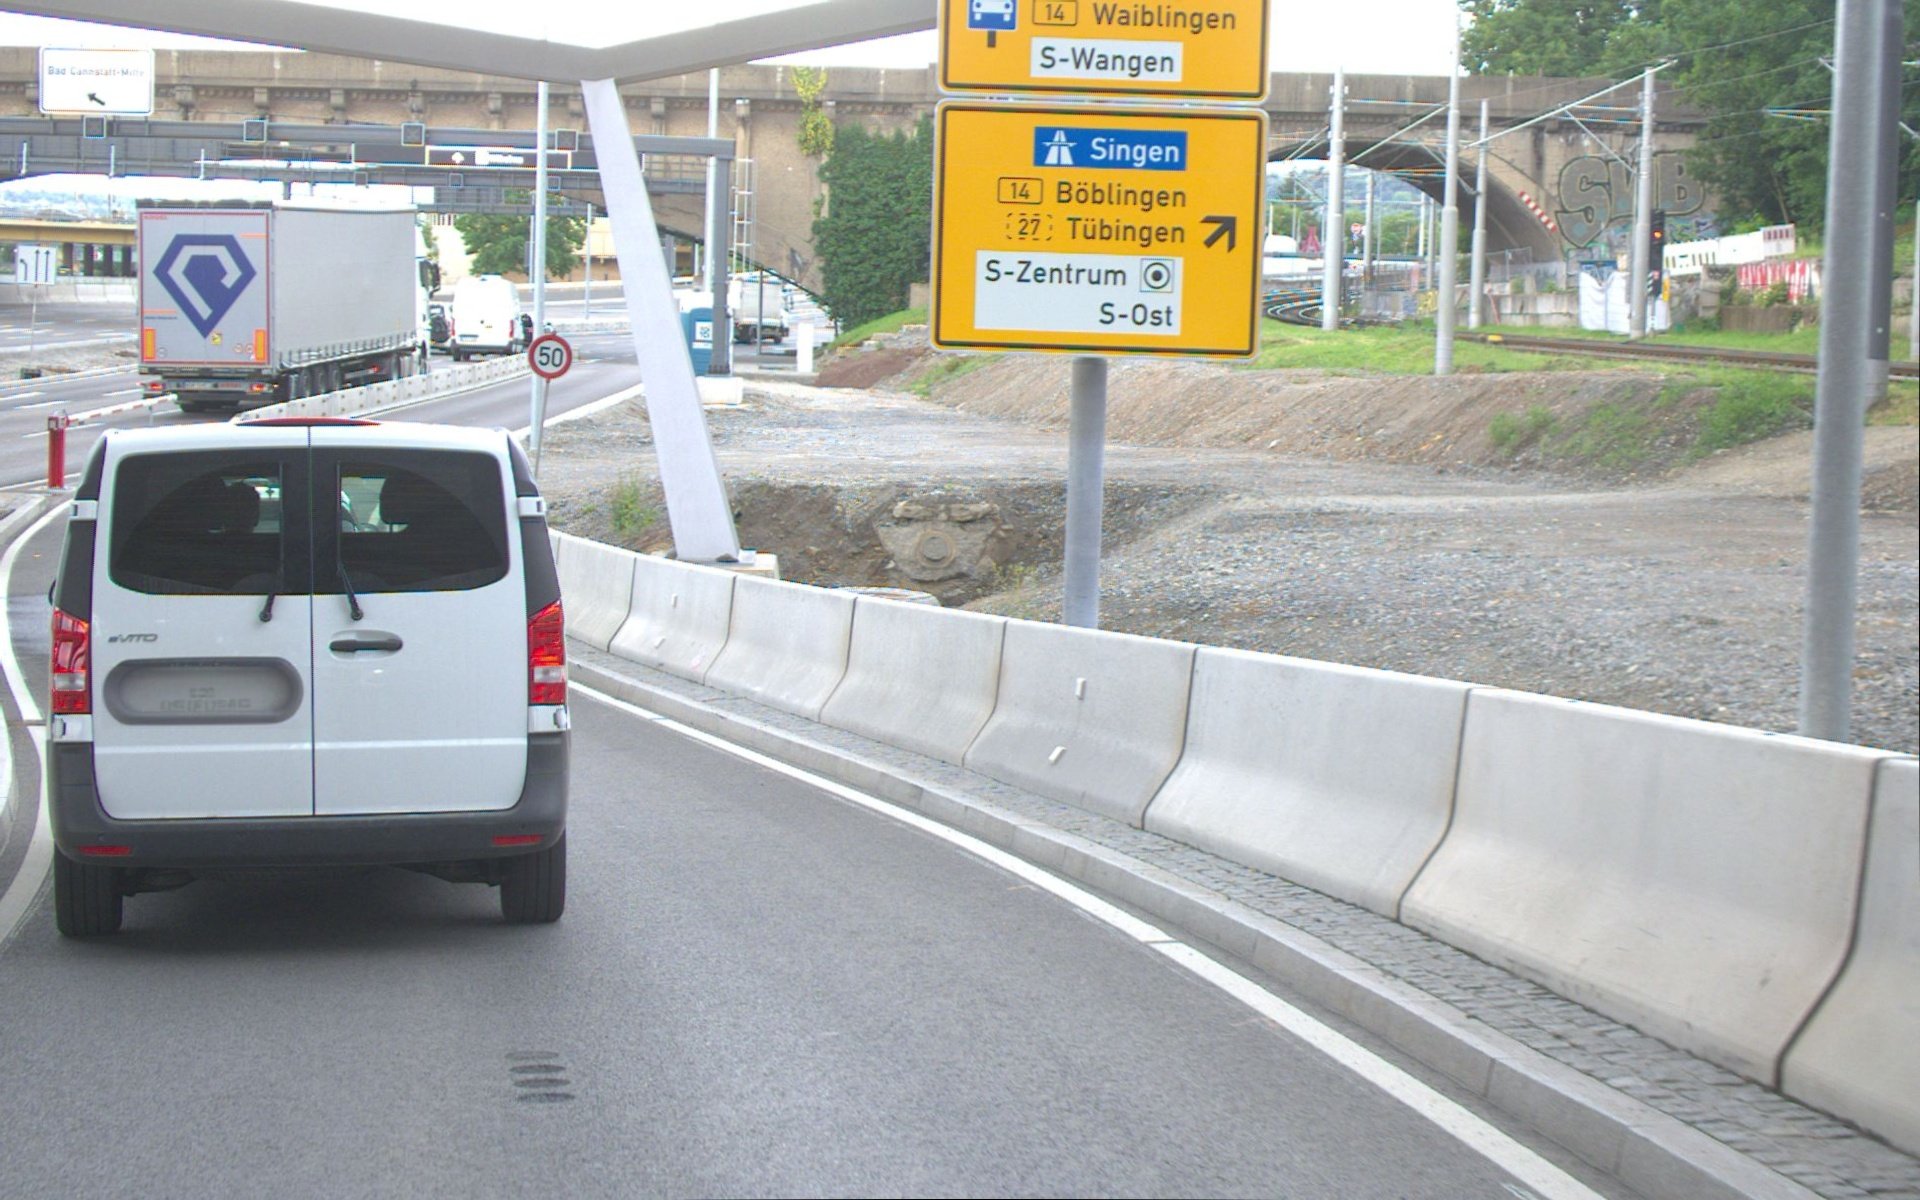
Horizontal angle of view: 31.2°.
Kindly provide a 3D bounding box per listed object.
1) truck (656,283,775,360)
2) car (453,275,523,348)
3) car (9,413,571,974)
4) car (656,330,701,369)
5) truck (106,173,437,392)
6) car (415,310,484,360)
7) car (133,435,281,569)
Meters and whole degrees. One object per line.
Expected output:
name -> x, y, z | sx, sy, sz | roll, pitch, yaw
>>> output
truck -> -11.944, -13.631, 168.766 | 3.397, 3.138, 7.251 | 6, 3, 15
car -> -15.049, -9.183, 109.724 | 1.897, 2.108, 4.487 | 3, 3, -5
car -> -2.669, 0.261, 14.040 | 1.875, 1.884, 4.754 | 0, 1, -10
car -> -12.458, -11.068, 152.146 | 1.623, 1.579, 4.001 | 3, 3, -1
truck -> -13.848, -6.592, 71.088 | 3.316, 3.795, 16.599 | 4, 6, 0
car -> -18.018, -9.372, 121.556 | 1.645, 1.614, 4.001 | 3, 4, 2
car -> -9.020, -1.210, 41.340 | 1.500, 1.464, 3.400 | 2, 3, -9
